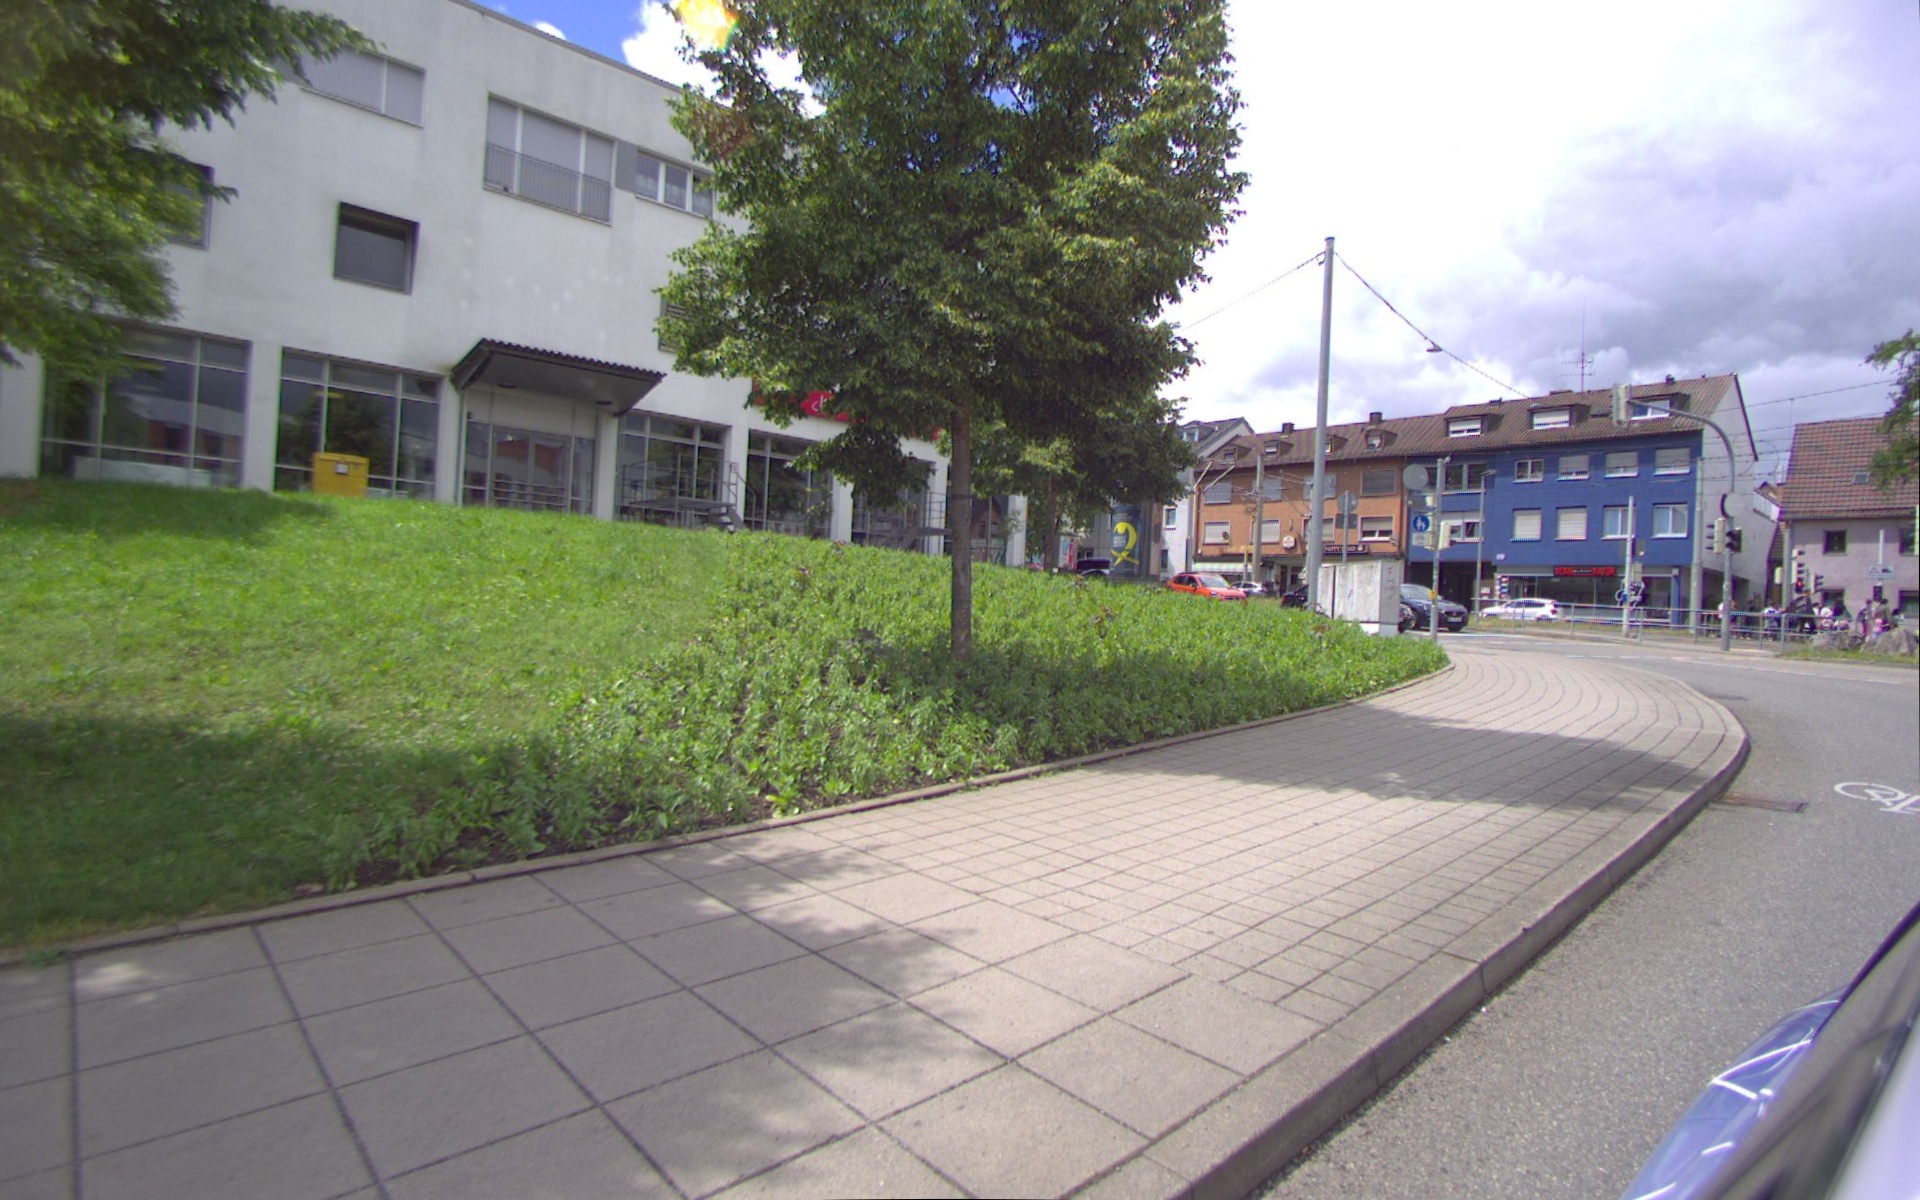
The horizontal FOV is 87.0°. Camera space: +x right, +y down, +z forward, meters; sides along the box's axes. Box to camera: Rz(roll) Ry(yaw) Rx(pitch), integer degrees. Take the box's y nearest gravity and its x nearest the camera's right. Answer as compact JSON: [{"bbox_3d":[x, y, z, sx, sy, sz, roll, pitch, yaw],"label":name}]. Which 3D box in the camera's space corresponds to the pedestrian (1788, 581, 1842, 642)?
[{"bbox_3d":[27.743,0.369,32.856,0.947,1.864,0.828,4,1,-17],"label":"pedestrian"}]

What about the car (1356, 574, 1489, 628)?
[{"bbox_3d":[14.677,-0.025,32.369,1.703,1.455,4.104,1,3,-13],"label":"car"}]

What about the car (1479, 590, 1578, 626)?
[{"bbox_3d":[28.913,0.384,51.561,1.682,1.551,3.995,4,0,-40],"label":"car"}]

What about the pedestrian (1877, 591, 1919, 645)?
[{"bbox_3d":[30.289,0.585,32.672,0.811,1.672,0.891,2,1,-41],"label":"pedestrian"}]

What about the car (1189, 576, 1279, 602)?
[{"bbox_3d":[16.099,-0.660,59.569,1.886,1.388,4.847,4,-1,-42],"label":"car"}]

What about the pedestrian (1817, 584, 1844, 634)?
[{"bbox_3d":[31.356,0.326,36.470,0.672,1.772,0.579,2,1,39],"label":"pedestrian"}]

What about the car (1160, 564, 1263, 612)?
[{"bbox_3d":[9.588,-0.447,38.853,1.958,1.663,4.008,2,0,-18],"label":"car"}]

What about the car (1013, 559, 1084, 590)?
[{"bbox_3d":[4.844,-1.414,55.793,1.975,1.574,4.006,2,1,-29],"label":"car"}]

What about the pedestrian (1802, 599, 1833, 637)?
[{"bbox_3d":[31.947,0.663,37.715,0.622,1.392,0.676,2,0,-32],"label":"pedestrian"}]

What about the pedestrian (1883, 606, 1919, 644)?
[{"bbox_3d":[30.934,0.817,33.249,0.667,1.182,0.584,2,0,19],"label":"pedestrian"}]

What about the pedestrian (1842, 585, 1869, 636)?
[{"bbox_3d":[32.235,0.372,36.431,0.672,1.772,0.579,2,1,39],"label":"pedestrian"}]

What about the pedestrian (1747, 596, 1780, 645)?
[{"bbox_3d":[30.048,0.753,37.845,0.743,1.772,0.583,2,0,19],"label":"pedestrian"}]

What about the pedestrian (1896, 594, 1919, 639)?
[{"bbox_3d":[32.118,0.556,34.233,0.664,1.511,0.586,1,1,-43],"label":"pedestrian"}]

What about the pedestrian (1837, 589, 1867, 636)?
[{"bbox_3d":[31.090,0.438,35.276,0.670,1.585,0.580,2,0,32],"label":"pedestrian"}]

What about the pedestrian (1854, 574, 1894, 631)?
[{"bbox_3d":[29.269,0.075,32.418,0.685,1.772,0.746,2,0,22],"label":"pedestrian"}]

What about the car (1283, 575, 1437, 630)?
[{"bbox_3d":[11.958,0.034,30.596,2.009,1.483,4.334,1,1,-18],"label":"car"}]
